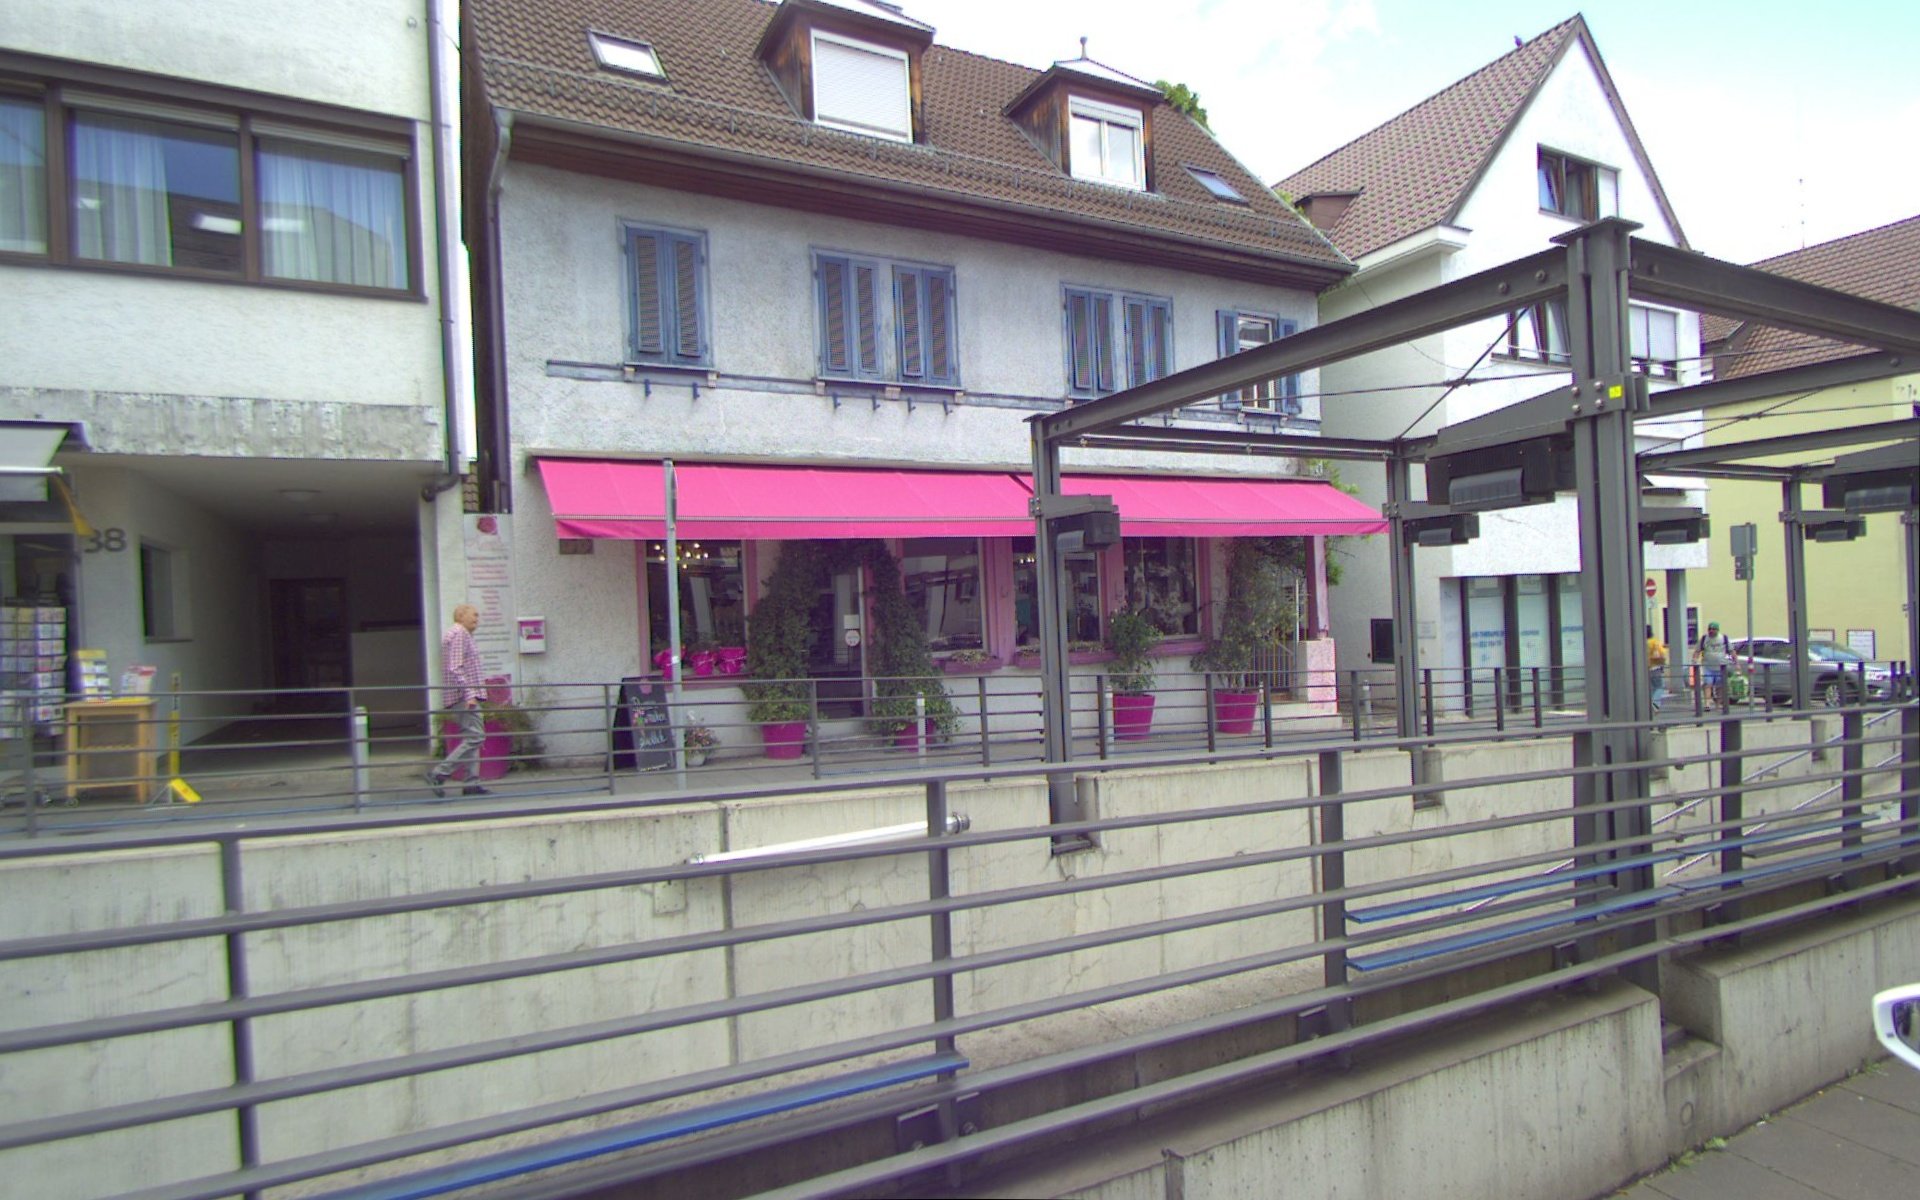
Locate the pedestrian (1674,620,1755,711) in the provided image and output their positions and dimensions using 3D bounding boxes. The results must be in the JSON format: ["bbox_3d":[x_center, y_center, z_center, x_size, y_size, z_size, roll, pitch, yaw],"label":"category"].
[{"bbox_3d":[15.491,1.324,20.639,0.971,1.811,0.917,0,-2,-14],"label":"pedestrian"}]

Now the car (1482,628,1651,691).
[{"bbox_3d":[20.006,1.996,33.345,1.973,1.829,4.328,-2,-3,-25],"label":"car"}]

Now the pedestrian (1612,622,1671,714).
[{"bbox_3d":[13.307,1.318,19.617,0.827,1.761,0.633,1,-3,-33],"label":"pedestrian"}]

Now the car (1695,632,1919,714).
[{"bbox_3d":[19.990,1.689,23.595,1.934,1.642,4.351,4,-3,-7],"label":"car"}]

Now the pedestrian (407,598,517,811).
[{"bbox_3d":[-4.377,0.884,8.838,0.814,1.763,0.691,1,-2,-28],"label":"pedestrian"}]
